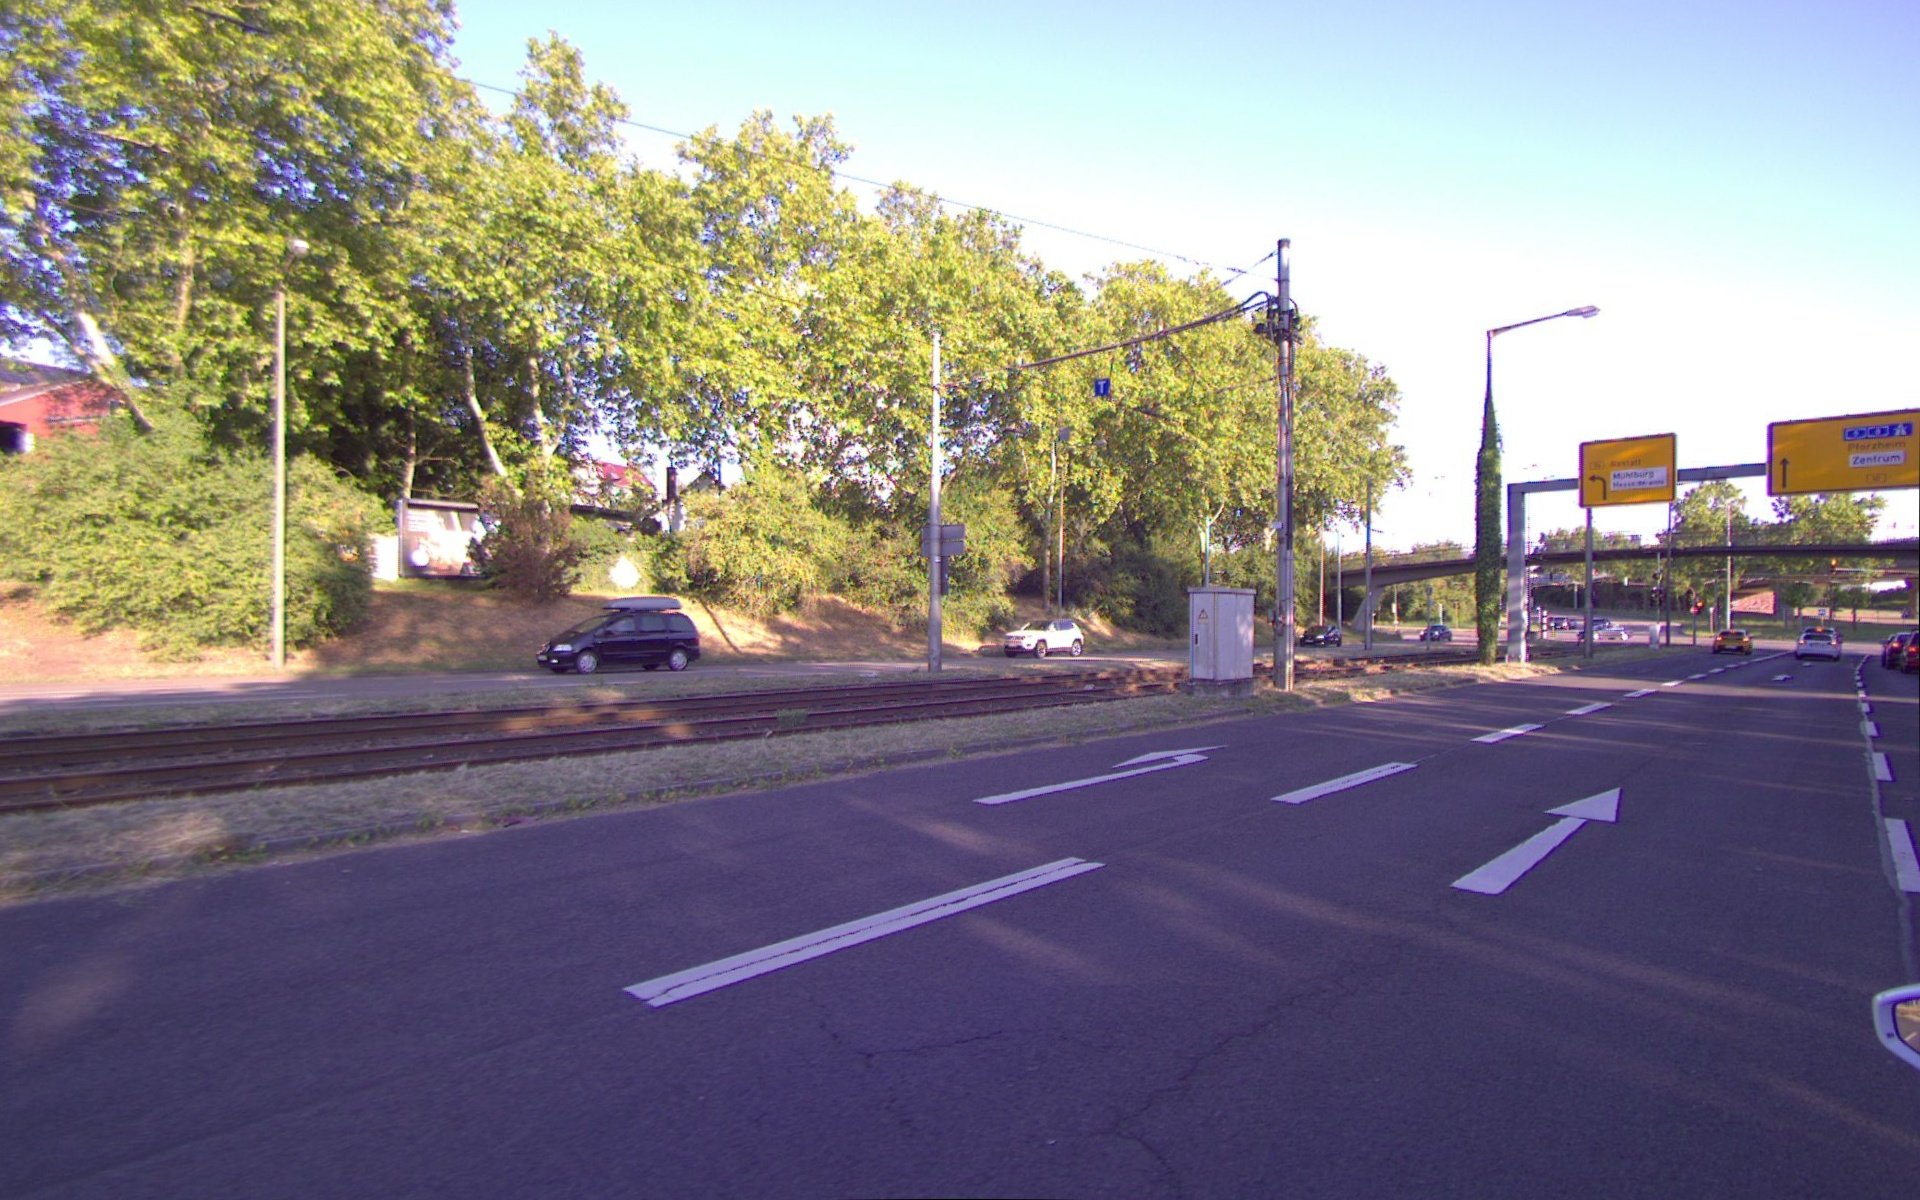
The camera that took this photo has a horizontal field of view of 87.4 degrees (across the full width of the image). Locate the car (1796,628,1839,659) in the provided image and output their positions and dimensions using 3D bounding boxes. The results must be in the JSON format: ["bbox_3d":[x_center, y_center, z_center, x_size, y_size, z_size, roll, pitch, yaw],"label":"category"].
[{"bbox_3d":[46.374,2.307,54.282,1.644,1.586,4.167,-2,-2,42],"label":"car"}]

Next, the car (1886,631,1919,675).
[{"bbox_3d":[41.099,2.256,43.187,1.773,1.773,4.218,-2,-2,42],"label":"car"}]

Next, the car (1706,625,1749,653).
[{"bbox_3d":[45.383,2.301,59.359,1.644,1.586,3.978,-2,-2,42],"label":"car"}]

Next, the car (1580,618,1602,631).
[{"bbox_3d":[81.262,3.123,129.364,1.857,1.596,3.656,2,1,41],"label":"car"}]

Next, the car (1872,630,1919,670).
[{"bbox_3d":[44.629,2.352,47.814,1.773,1.773,3.978,-2,-2,42],"label":"car"}]

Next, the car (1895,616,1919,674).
[{"bbox_3d":[37.053,1.679,38.413,1.772,2.133,3.979,-2,-2,42],"label":"car"}]

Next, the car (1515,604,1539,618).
[{"bbox_3d":[72.575,1.406,128.607,1.857,1.795,3.980,2,1,41],"label":"car"}]

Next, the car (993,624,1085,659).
[{"bbox_3d":[3.476,1.789,43.836,1.970,1.459,4.171,-2,-2,40],"label":"car"}]

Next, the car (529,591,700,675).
[{"bbox_3d":[-9.730,0.923,28.524,1.972,2.191,4.167,-2,-2,43],"label":"car"}]

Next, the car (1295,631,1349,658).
[{"bbox_3d":[24.232,2.950,67.190,1.972,1.703,4.167,-2,-2,43],"label":"car"}]
